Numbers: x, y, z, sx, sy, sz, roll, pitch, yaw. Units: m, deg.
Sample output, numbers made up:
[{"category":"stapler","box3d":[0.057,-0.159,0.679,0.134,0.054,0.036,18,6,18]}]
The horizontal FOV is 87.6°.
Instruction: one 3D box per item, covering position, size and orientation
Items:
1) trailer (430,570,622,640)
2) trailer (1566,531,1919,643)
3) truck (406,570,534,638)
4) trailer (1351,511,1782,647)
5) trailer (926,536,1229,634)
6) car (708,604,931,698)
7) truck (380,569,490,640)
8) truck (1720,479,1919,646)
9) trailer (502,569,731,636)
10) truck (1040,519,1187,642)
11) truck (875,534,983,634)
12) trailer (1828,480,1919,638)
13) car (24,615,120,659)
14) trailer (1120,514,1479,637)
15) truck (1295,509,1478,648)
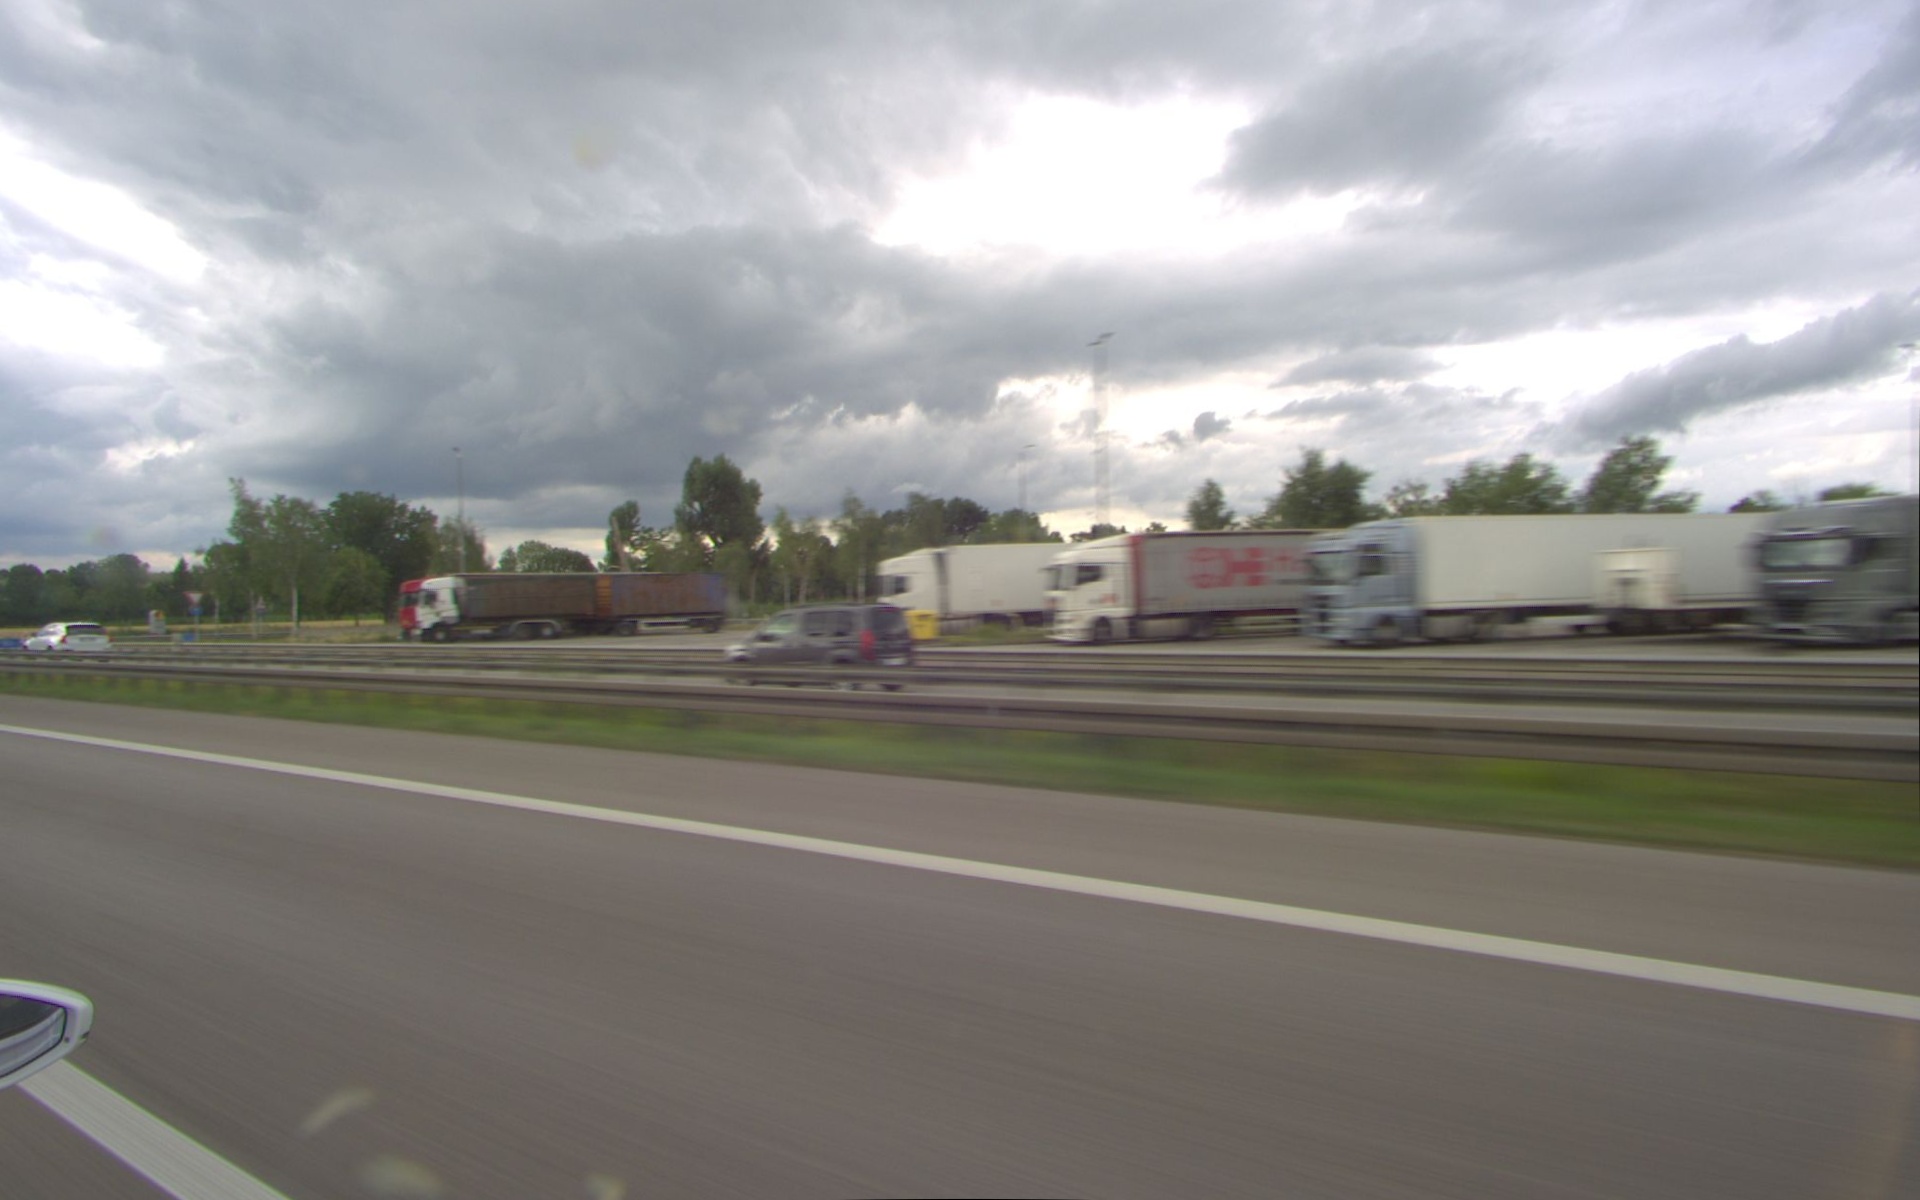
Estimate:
[{"category":"trailer","box3d":[-27.504,0.313,63.970,10.902,4.279,2.596,0,-1,-11]},{"category":"trailer","box3d":[26.040,-0.270,31.071,13.492,3.150,3.594,0,-2,-11]},{"category":"truck","box3d":[-29.192,0.228,59.878,6.274,3.901,2.754,-1,0,-11]},{"category":"trailer","box3d":[20.279,-0.565,33.406,14.425,4.137,2.657,0,-1,-12]},{"category":"trailer","box3d":[5.216,-0.573,44.792,13.288,4.126,2.613,0,-1,-9]},{"category":"car","box3d":[-2.998,1.010,21.023,4.529,1.780,1.824,-1,0,32]},{"category":"truck","box3d":[-32.860,0.339,62.918,5.588,4.308,2.591,0,-1,-12]},{"category":"truck","box3d":[25.465,-0.850,27.160,7.511,4.137,3.547,0,-1,-10]},{"category":"trailer","box3d":[-20.828,0.115,61.511,12.961,3.892,2.745,-1,0,-11]},{"category":"truck","box3d":[5.679,-0.641,37.358,4.815,4.383,2.510,0,-1,-13]},{"category":"truck","box3d":[-1.405,-0.610,43.721,4.447,4.188,2.613,0,-1,-9]},{"category":"trailer","box3d":[32.806,-1.040,28.541,15.288,4.187,3.528,0,-1,-11]},{"category":"car","box3d":[-38.674,1.595,43.588,4.993,1.780,1.824,-1,0,32]},{"category":"trailer","box3d":[13.246,-0.824,38.955,13.881,4.452,2.476,0,-1,-12]},{"category":"truck","box3d":[13.529,-0.596,31.911,4.707,4.184,2.639,0,-1,-13]}]
